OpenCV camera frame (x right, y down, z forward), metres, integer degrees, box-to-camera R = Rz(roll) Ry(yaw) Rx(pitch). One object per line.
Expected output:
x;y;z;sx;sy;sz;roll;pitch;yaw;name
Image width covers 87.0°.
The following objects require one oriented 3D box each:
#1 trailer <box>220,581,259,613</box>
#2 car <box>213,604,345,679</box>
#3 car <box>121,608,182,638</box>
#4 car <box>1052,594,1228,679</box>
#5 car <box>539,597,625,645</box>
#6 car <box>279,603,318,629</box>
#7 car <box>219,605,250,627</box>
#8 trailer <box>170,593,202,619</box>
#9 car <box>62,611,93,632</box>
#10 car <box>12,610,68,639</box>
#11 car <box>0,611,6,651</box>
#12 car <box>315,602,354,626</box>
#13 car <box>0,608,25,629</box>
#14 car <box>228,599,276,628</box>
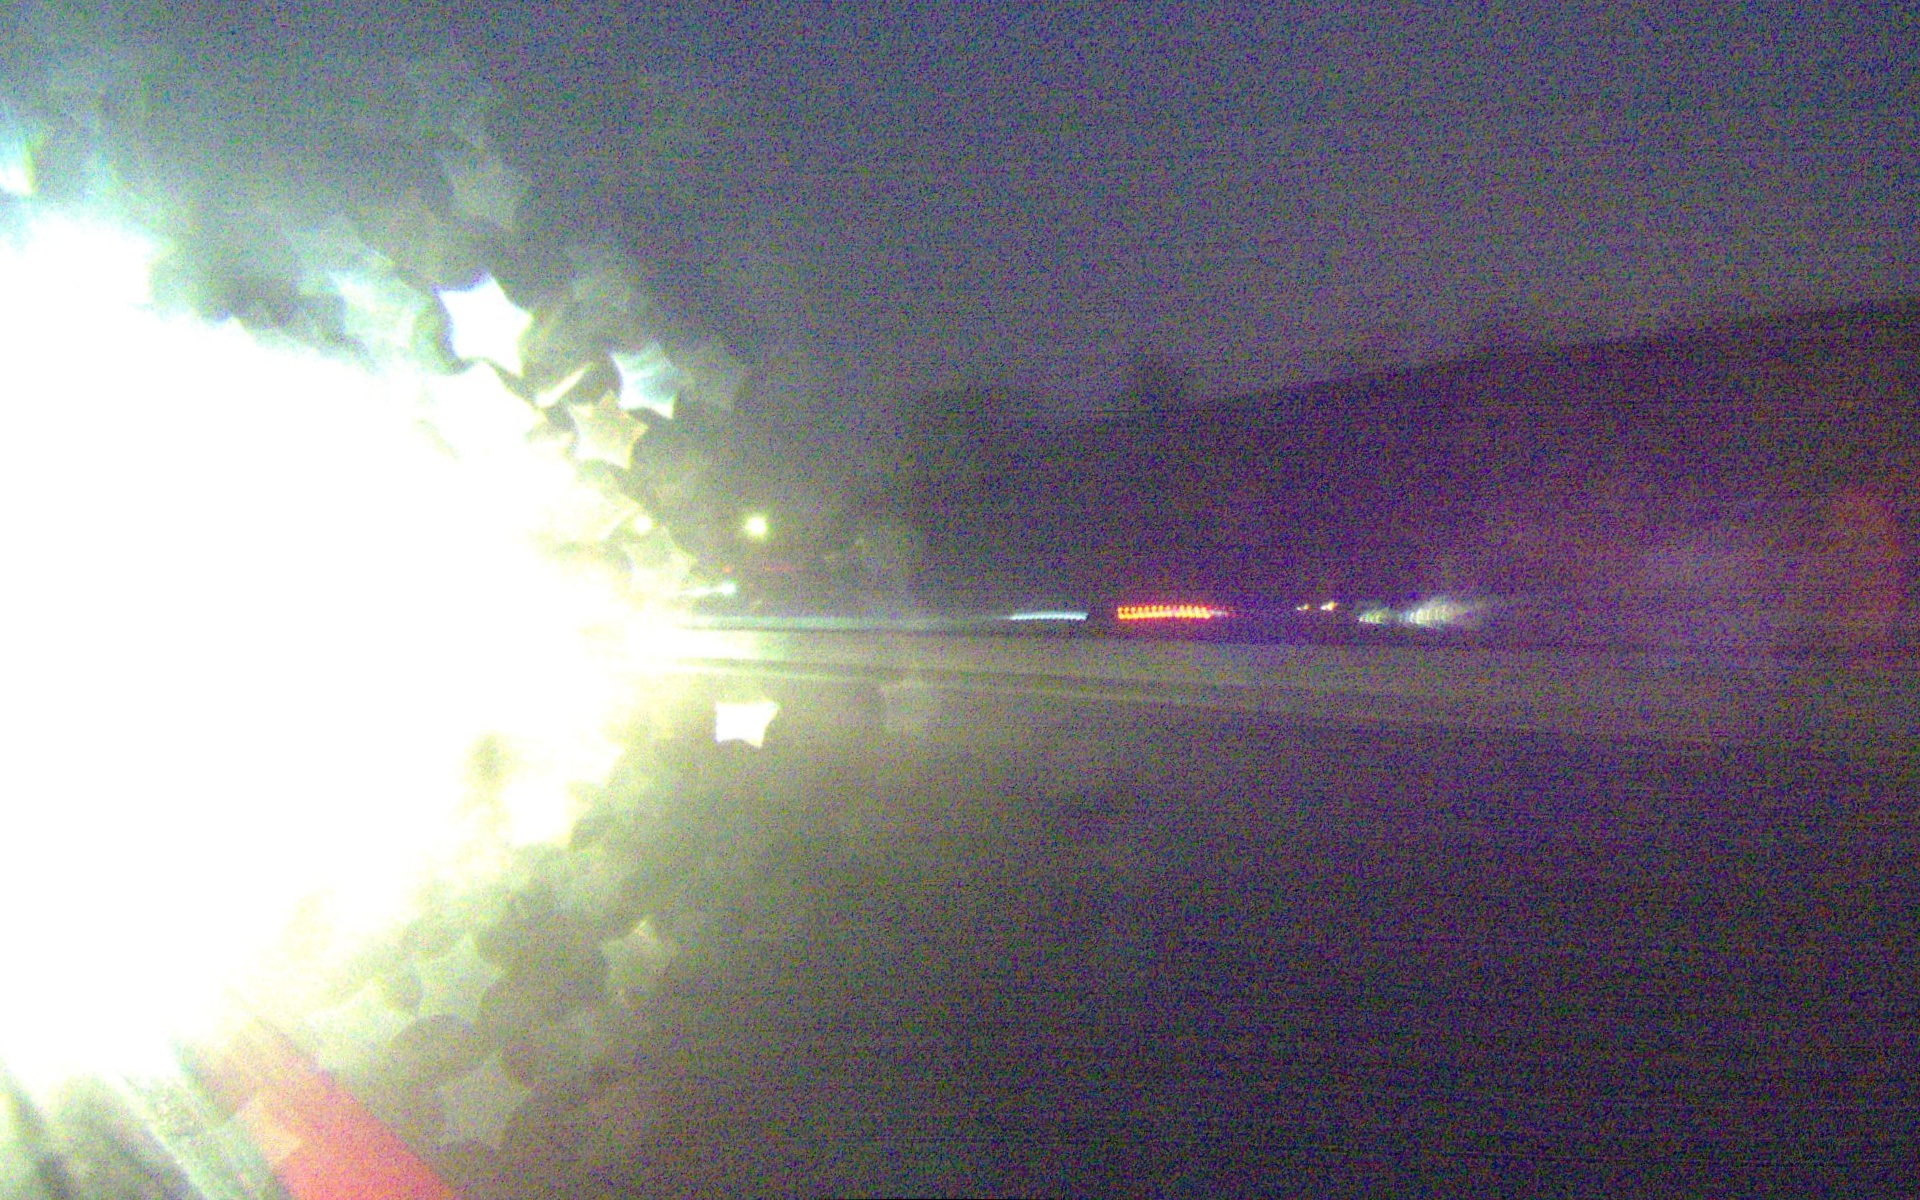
-90.926;-0.390;127.587;2.620;3.758;13.964;-4;3;-41;trailer
-16.252;0.928;24.094;4.000;1.608;1.704;-1;1;43;car
-45.539;1.271;56.959;3.996;1.608;1.897;-1;1;40;car
4.809;0.903;27.386;4.278;2.028;1.972;0;3;43;car
-17.672;0.944;47.245;4.278;2.028;1.972;0;3;43;car
-56.437;1.368;86.302;1.971;2.028;4.003;-4;3;-44;car
-74.841;1.641;104.371;1.971;2.028;4.003;-4;3;-44;car
-132.905;0.990;173.686;2.738;4.058;14.027;-4;3;-43;trailer
-83.687;1.996;95.917;1.903;1.807;4.003;-4;3;-44;car
-54.360;1.402;59.768;3.996;1.608;1.897;-1;1;40;car
-40.553;1.287;41.274;3.996;1.608;1.897;-1;1;40;car
-55.913;1.274;90.428;4.000;1.996;1.972;-1;3;43;car
-87.719;1.685;93.261;4.000;1.807;1.904;-1;3;43;car
-52.474;0.976;74.984;4.568;2.028;1.972;0;3;43;car
